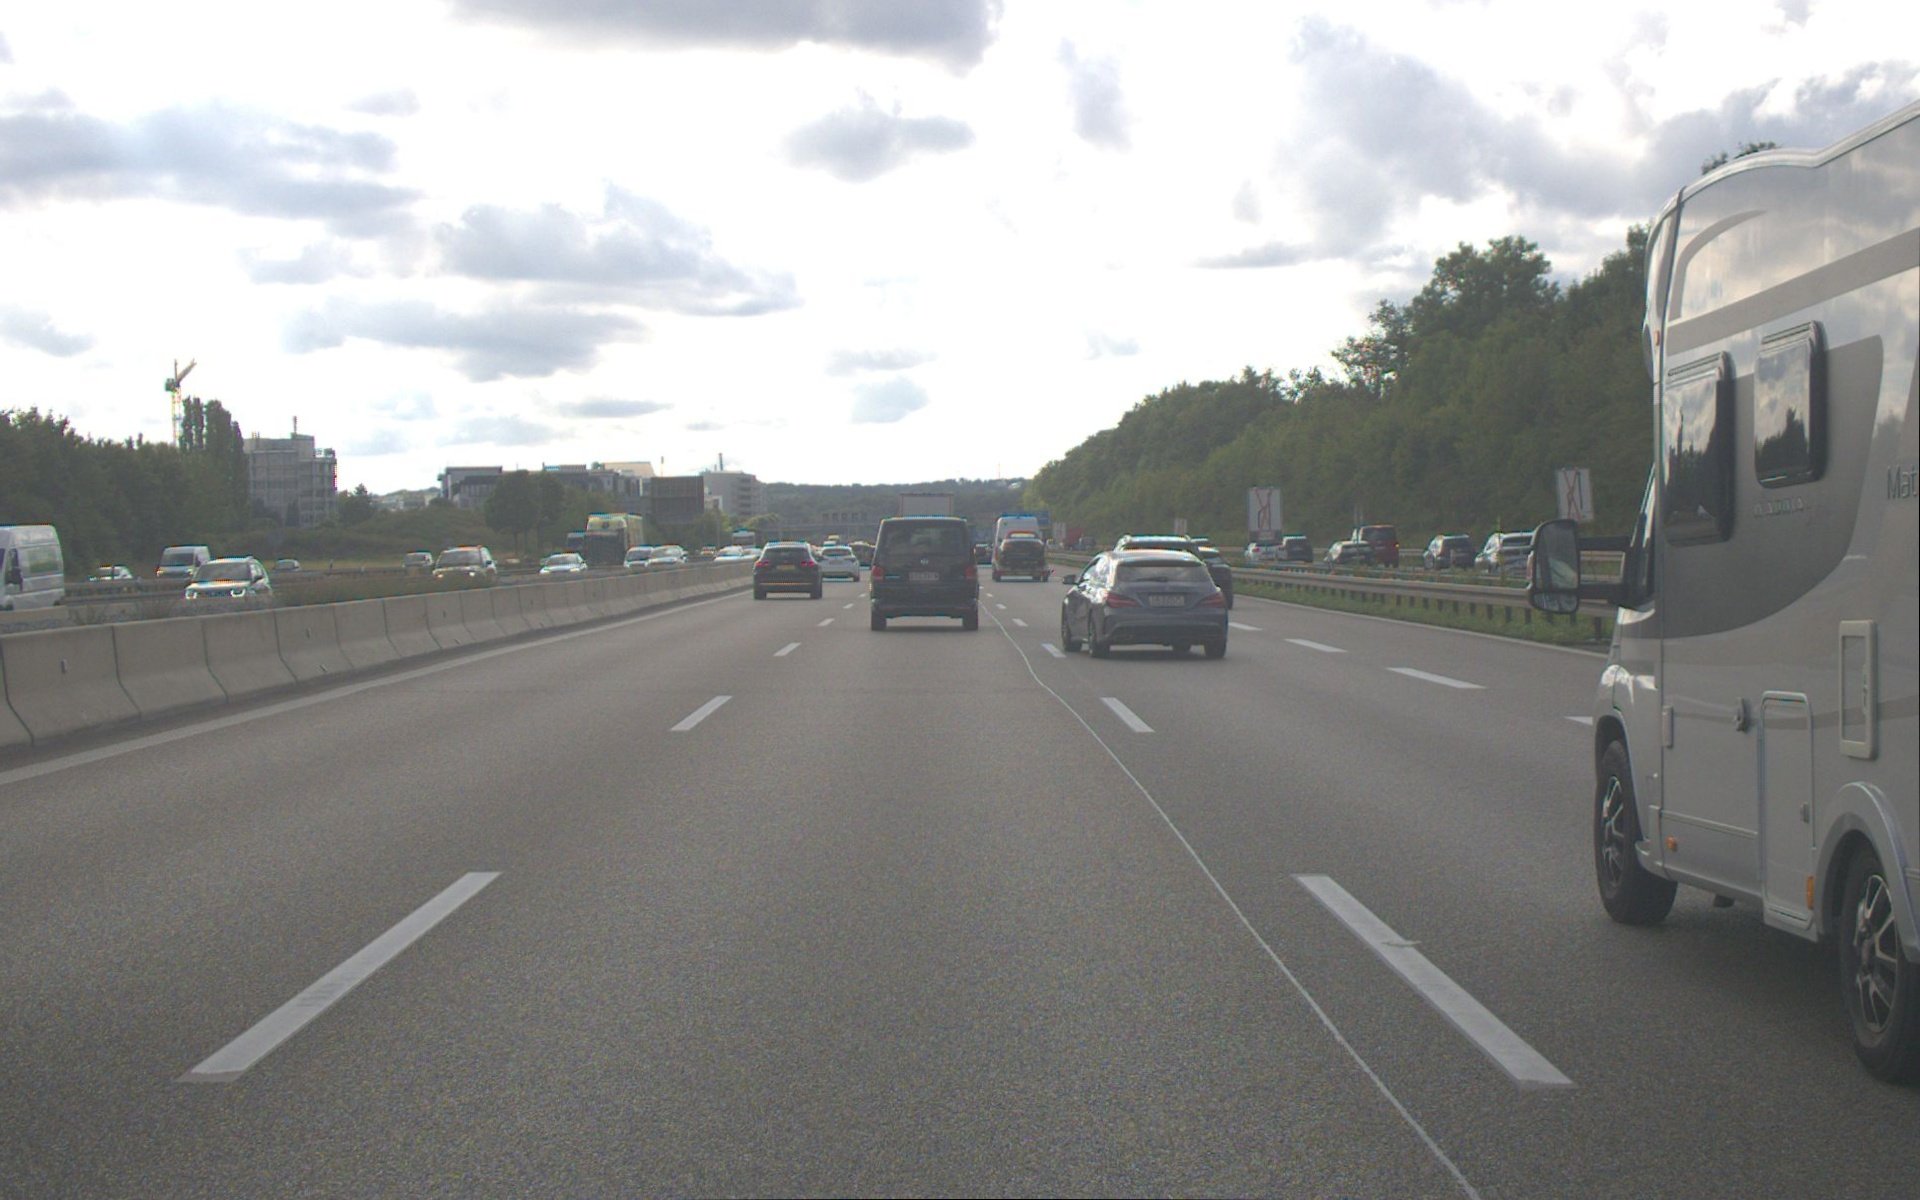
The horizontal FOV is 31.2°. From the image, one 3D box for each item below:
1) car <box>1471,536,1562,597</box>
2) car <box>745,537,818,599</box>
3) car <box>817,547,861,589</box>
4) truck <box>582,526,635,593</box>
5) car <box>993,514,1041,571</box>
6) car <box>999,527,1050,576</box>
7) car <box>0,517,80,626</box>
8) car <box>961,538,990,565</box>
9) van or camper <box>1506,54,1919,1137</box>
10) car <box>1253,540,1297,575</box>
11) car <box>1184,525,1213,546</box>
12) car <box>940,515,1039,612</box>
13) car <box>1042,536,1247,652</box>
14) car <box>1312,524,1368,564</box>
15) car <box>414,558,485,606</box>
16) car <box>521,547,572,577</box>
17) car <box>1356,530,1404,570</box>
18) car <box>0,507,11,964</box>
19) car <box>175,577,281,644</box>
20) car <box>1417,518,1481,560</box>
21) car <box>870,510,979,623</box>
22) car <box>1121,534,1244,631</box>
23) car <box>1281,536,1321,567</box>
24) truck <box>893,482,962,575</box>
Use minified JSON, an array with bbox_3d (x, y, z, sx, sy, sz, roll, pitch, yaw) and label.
[{"bbox_3d":[16.168,-0.997,100.042,1.846,1.644,4.306,-2,1,0],"label":"car"},{"bbox_3d":[-4.991,-0.896,96.430,1.873,1.692,4.072,0,1,-1],"label":"car"},{"bbox_3d":[-4.797,-1.286,137.095,1.697,1.605,4.114,0,1,-1],"label":"car"},{"bbox_3d":[-22.904,-2.649,224.159,2.896,4.308,5.162,-1,1,0],"label":"truck"},{"bbox_3d":[2.393,-2.426,144.834,1.873,2.349,4.282,0,1,-1],"label":"car"},{"bbox_3d":[2.577,-1.945,137.665,1.913,1.912,4.031,0,1,-1],"label":"car"},{"bbox_3d":[-21.047,-0.639,74.936,2.164,2.263,6.462,-1,1,-1],"label":"car"},{"bbox_3d":[0.971,-3.107,220.512,1.752,1.689,4.190,0,1,-1],"label":"car"},{"bbox_3d":[3.611,-0.047,10.758,2.468,2.712,7.662,0,1,-1],"label":"van or camper"},{"bbox_3d":[15.581,-2.097,170.157,1.752,1.689,4.190,0,1,-1],"label":"car"},{"bbox_3d":[18.018,-4.861,259.607,1.752,1.511,4.191,0,1,-2],"label":"car"},{"bbox_3d":[0.516,-0.693,63.238,1.720,1.718,4.392,0,1,-1],"label":"car"},{"bbox_3d":[2.421,-0.116,46.146,1.720,1.474,4.393,0,1,-11],"label":"car"},{"bbox_3d":[15.038,-2.229,136.251,1.595,1.540,4.191,0,1,-2],"label":"car"},{"bbox_3d":[-17.377,-0.624,117.115,1.774,1.555,4.782,-1,1,-1],"label":"car"},{"bbox_3d":[-18.278,-1.688,152.251,1.771,1.290,4.676,0,1,-1],"label":"car"},{"bbox_3d":[19.493,-2.316,159.583,1.595,1.797,3.825,0,1,-2],"label":"car"},{"bbox_3d":[-4.348,0.537,9.637,1.912,1.630,5.500,0,1,-1],"label":"car"},{"bbox_3d":[-17.526,0.225,82.444,1.737,1.506,4.052,-1,1,-1],"label":"car"},{"bbox_3d":[19.333,-2.424,136.077,1.728,1.540,4.306,-2,1,-2],"label":"car"},{"bbox_3d":[-0.629,-0.610,60.476,1.855,1.904,4.260,0,1,-1],"label":"car"},{"bbox_3d":[3.682,-0.320,57.538,1.697,1.559,4.114,0,1,-1],"label":"car"},{"bbox_3d":[18.937,-2.712,191.131,1.752,1.689,4.190,0,1,-1],"label":"car"},{"bbox_3d":[-1.596,-3.477,167.964,3.263,4.360,11.027,0,1,-1],"label":"truck"}]
